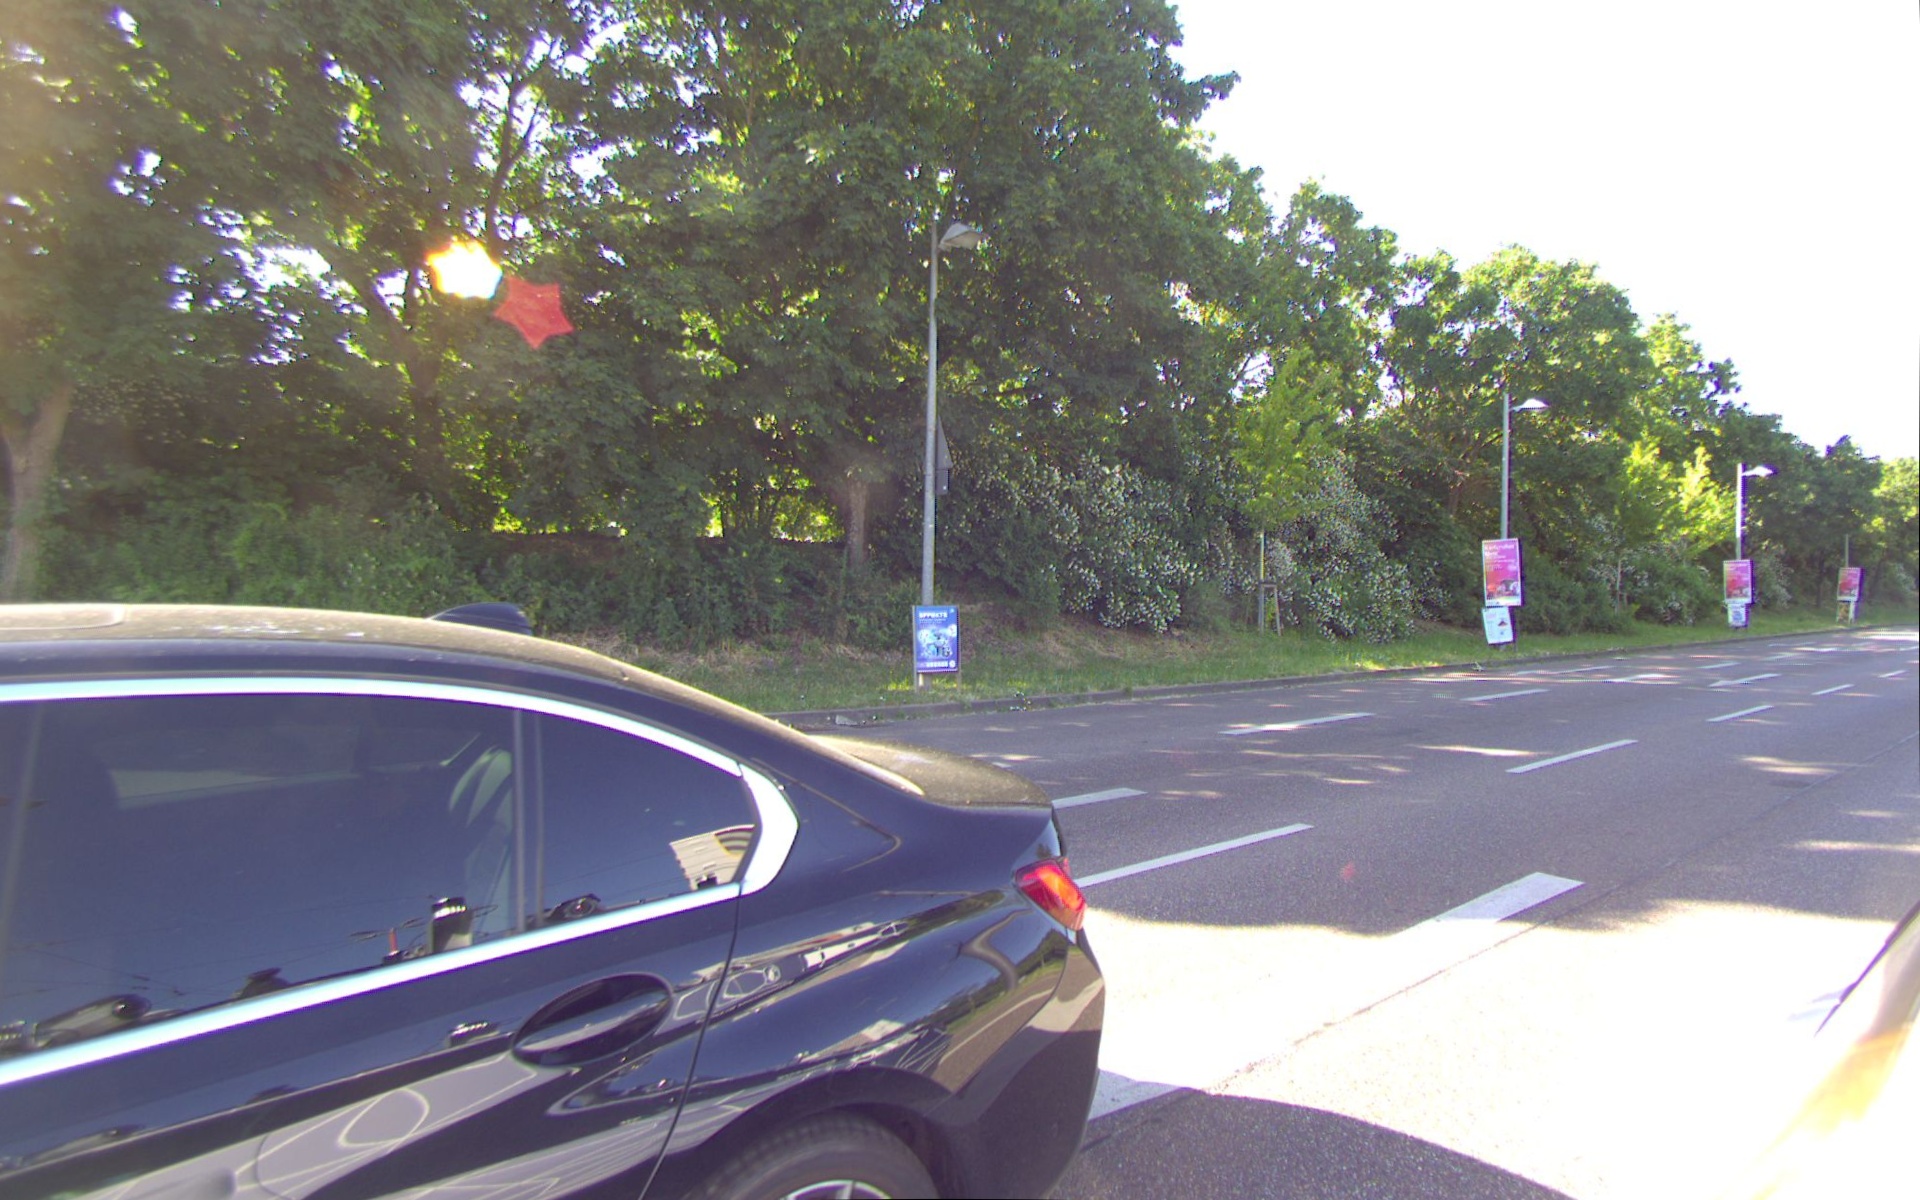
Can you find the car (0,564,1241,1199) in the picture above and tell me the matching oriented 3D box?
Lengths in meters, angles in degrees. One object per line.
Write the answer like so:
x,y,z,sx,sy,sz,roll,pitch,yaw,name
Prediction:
-1.694,0.653,1.426,4.364,1.415,1.874,0,1,-40,car
